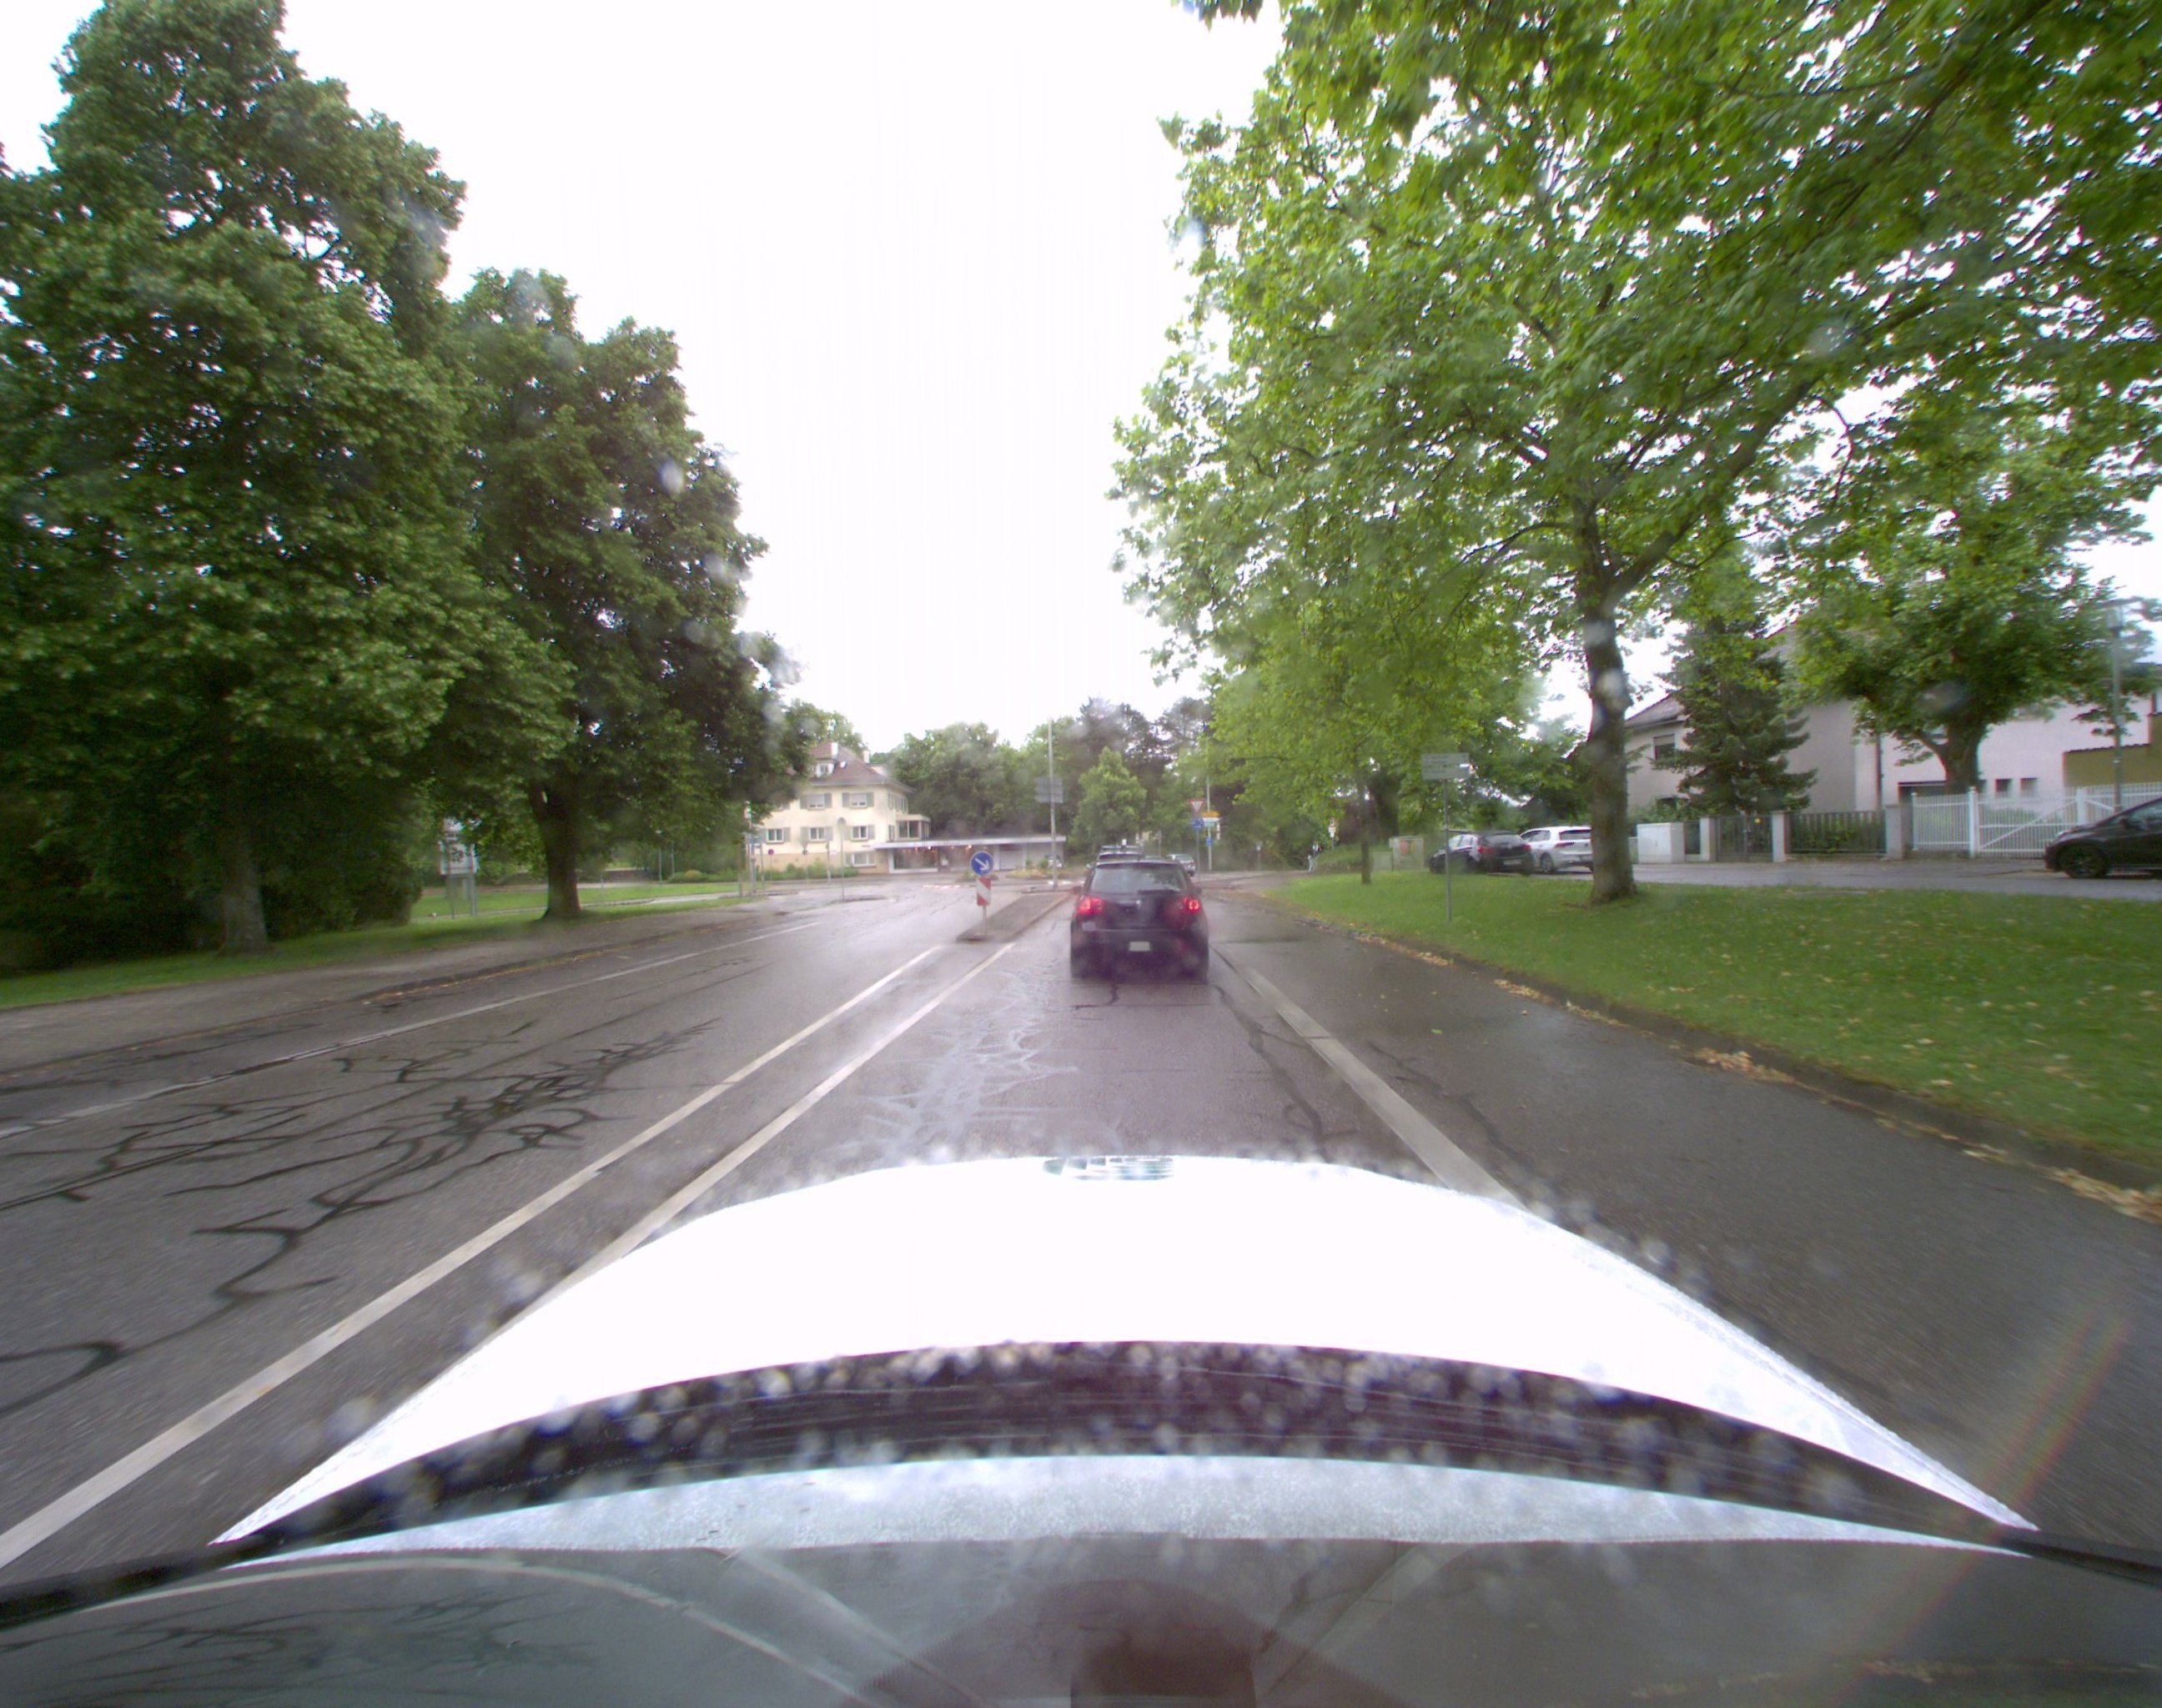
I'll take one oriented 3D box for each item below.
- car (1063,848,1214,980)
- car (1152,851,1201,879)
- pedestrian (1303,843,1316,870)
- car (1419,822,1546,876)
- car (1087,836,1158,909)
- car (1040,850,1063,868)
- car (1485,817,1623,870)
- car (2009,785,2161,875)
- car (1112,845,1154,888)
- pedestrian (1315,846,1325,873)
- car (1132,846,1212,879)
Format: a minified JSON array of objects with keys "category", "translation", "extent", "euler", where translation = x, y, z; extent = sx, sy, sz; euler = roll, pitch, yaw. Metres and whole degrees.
[{"category":"car","translation":[0.833,0.699,11.583],"extent":[1.756,1.538,4.005],"euler":[-1,0,4]},{"category":"car","translation":[6.293,0.704,53.944],"extent":[1.995,1.741,4.126],"euler":[0,-1,-12]},{"category":"pedestrian","translation":[14.693,0.166,52.309],"extent":[0.528,1.713,0.633],"euler":[0,-1,-13]},{"category":"car","translation":[12.767,-0.112,26.258],"extent":[1.758,1.471,4.598],"euler":[-4,-1,0]},{"category":"car","translation":[1.109,0.508,23.305],"extent":[1.759,1.801,4.246],"euler":[-3,-1,0]},{"category":"car","translation":[-2.729,0.436,74.907],"extent":[1.810,1.486,3.824],"euler":[-3,0,-5]},{"category":"car","translation":[15.216,-0.296,26.498],"extent":[1.840,1.471,4.424],"euler":[-3,-1,0]},{"category":"car","translation":[18.575,-0.407,13.307],"extent":[1.756,1.471,4.352],"euler":[-1,-1,-3]},{"category":"car","translation":[2.451,0.572,38.071],"extent":[1.757,1.801,4.251],"euler":[-3,-1,4]},{"category":"pedestrian","translation":[15.478,0.357,52.750],"extent":[0.629,1.713,0.532],"euler":[-1,-1,18]},{"category":"car","translation":[4.933,0.448,44.177],"extent":[4.050,1.684,1.978],"euler":[0,-1,-36]}]
